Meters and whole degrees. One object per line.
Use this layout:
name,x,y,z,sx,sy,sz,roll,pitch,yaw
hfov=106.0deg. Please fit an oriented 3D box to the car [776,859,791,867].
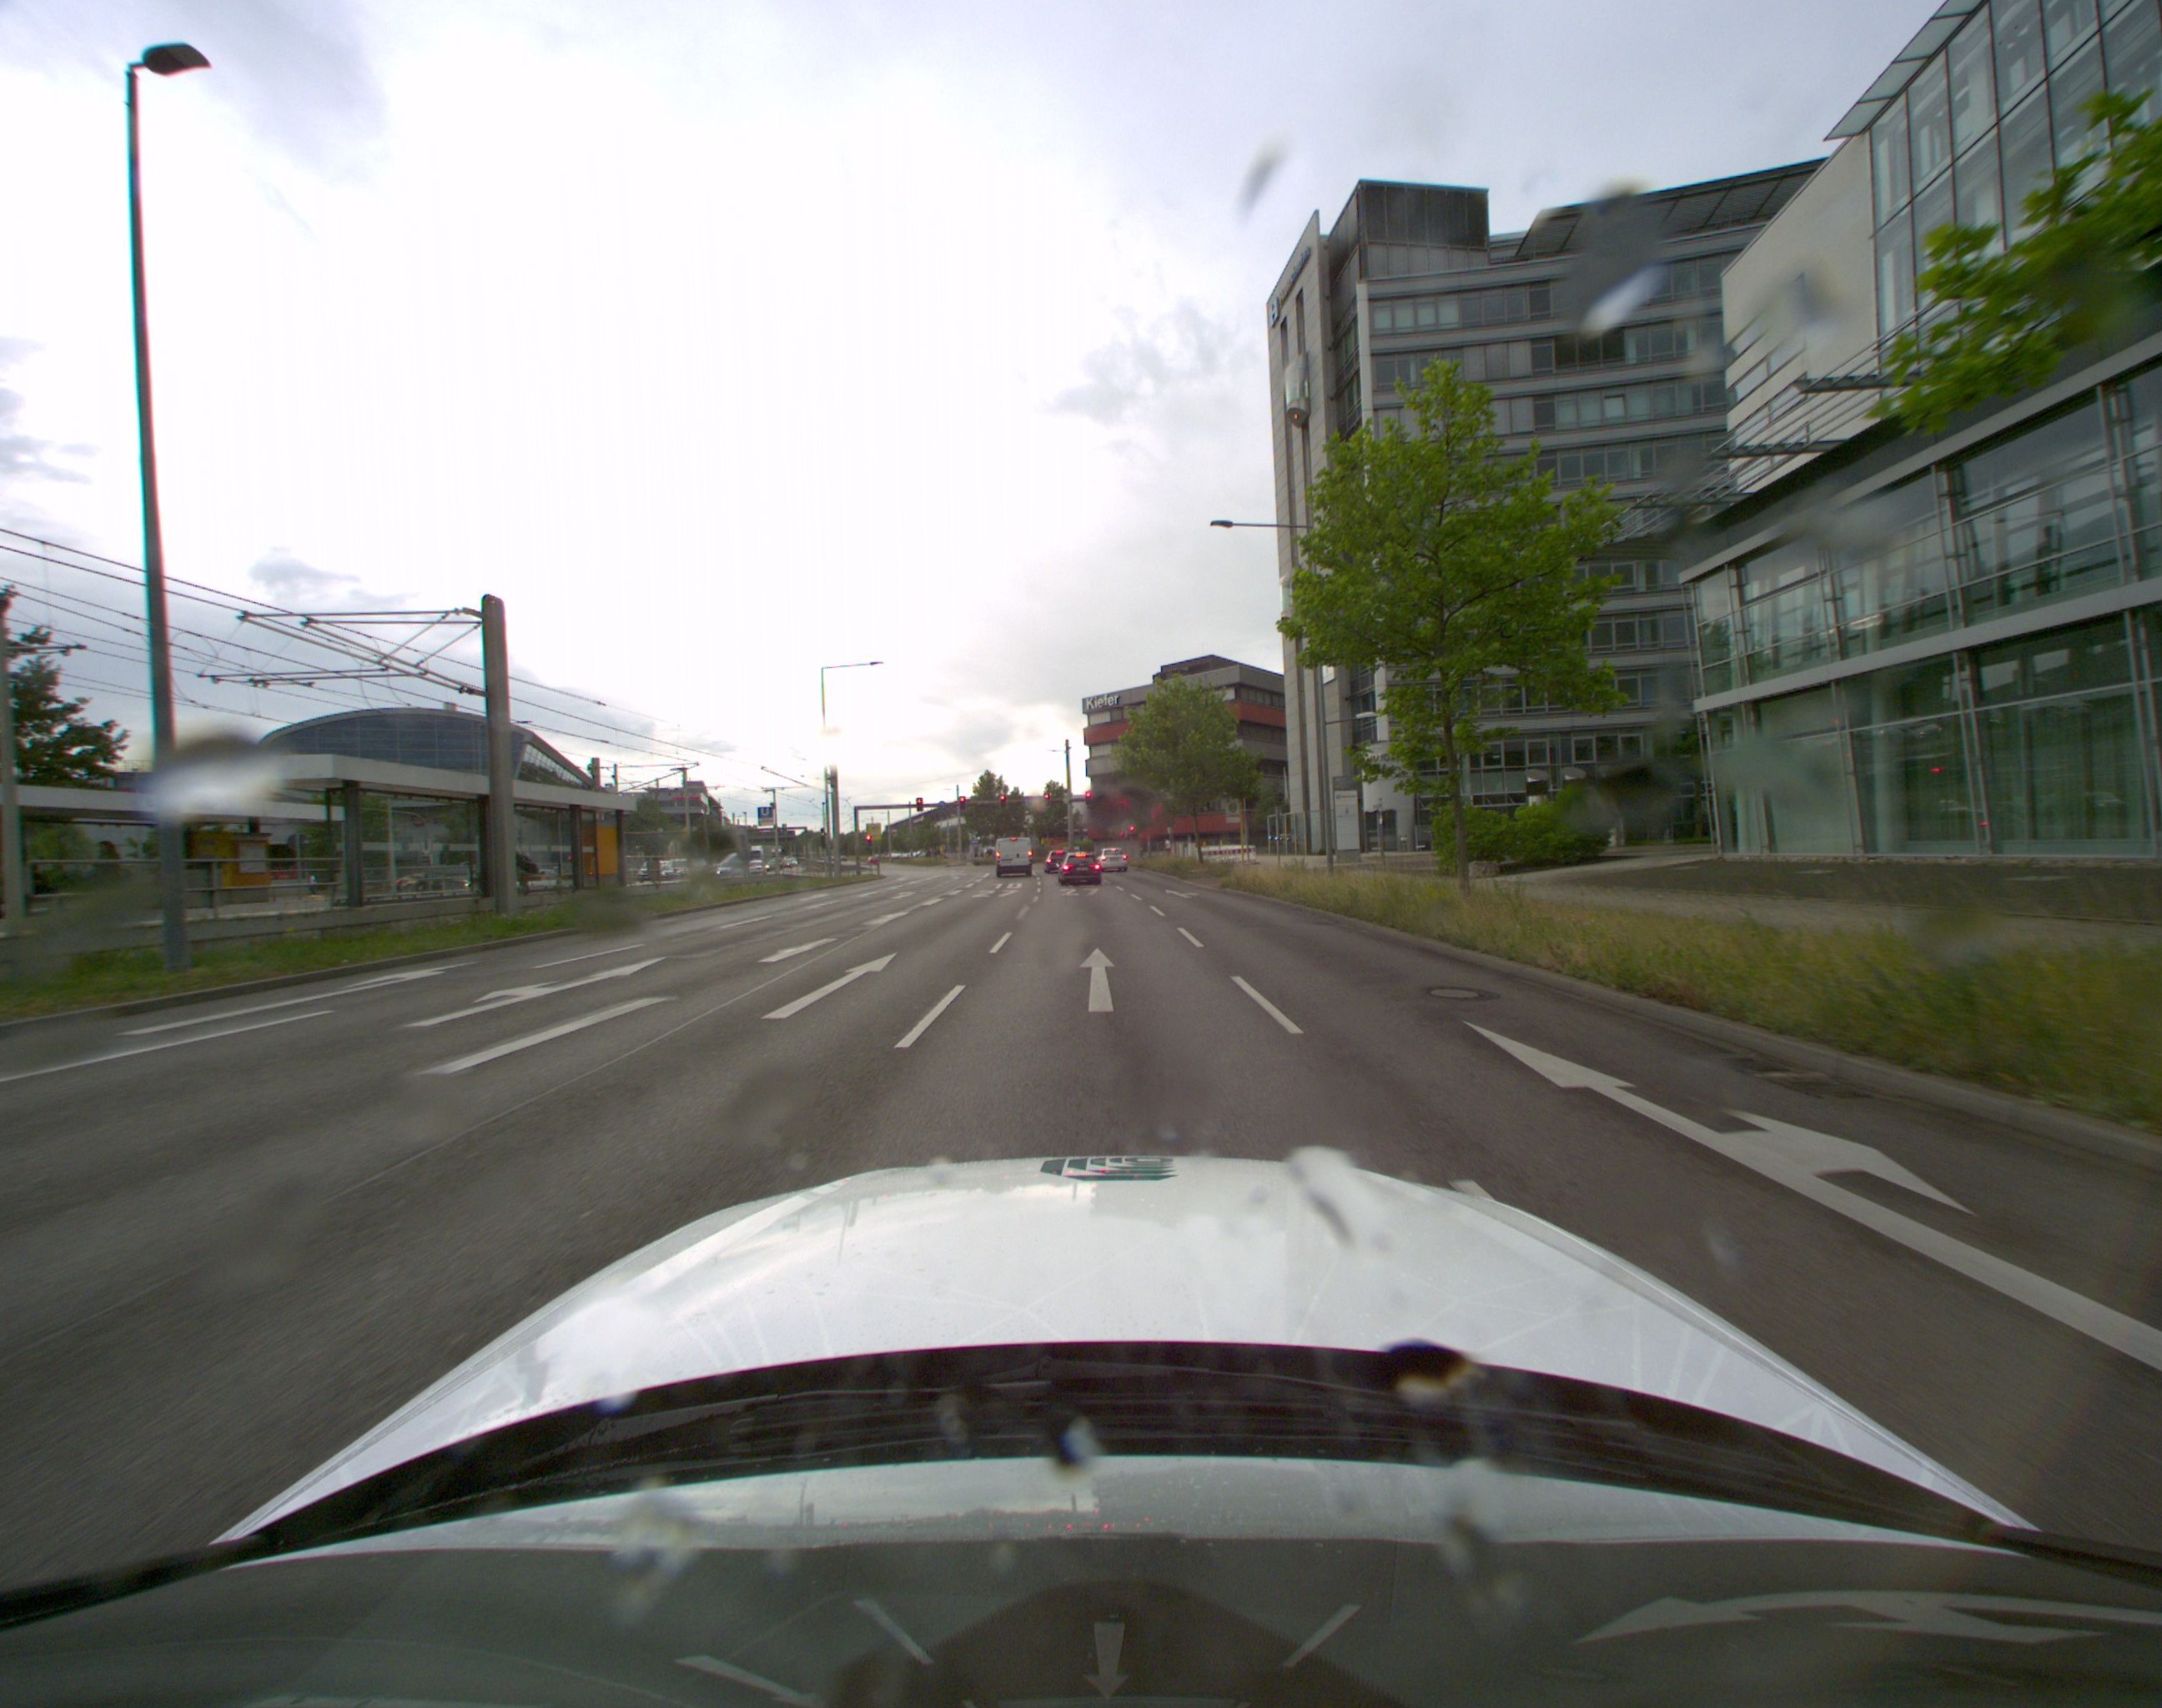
car,-50.471,1.559,138.293,1.910,1.264,4.393,0,-1,-14

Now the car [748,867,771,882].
car,-35.374,2.230,89.668,1.528,1.666,4.254,0,-1,-10

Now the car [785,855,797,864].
car,-55.519,1.049,155.906,1.890,1.652,4.075,0,-1,-15

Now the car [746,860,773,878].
car,-35.261,1.635,89.485,1.771,2.014,4.336,0,-1,-7

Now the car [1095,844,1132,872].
car,2.003,0.274,51.322,1.826,1.656,3.993,-2,-1,-5

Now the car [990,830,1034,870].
car,-4.196,-0.199,48.602,2.443,2.294,4.892,0,-1,-7

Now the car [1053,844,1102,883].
car,-0.221,0.441,36.671,1.989,1.637,3.995,0,-1,-3

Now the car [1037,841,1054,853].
car,-6.608,-1.285,152.369,1.879,2.014,3.743,0,-1,-24

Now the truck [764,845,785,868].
truck,-57.734,0.451,153.512,2.670,4.130,6.156,-3,0,-14

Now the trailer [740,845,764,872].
trailer,-53.214,0.664,131.928,2.803,4.107,11.369,-3,1,-19

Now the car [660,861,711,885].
car,-30.321,1.451,62.587,1.992,1.731,5.017,0,-1,-7

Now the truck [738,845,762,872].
truck,-51.427,0.681,126.648,2.840,3.995,5.949,-3,1,-19

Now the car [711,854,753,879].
car,-31.786,1.123,74.341,1.990,2.214,5.135,0,-1,-5

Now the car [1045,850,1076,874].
car,-1.374,0.520,52.972,1.889,1.465,3.906,-2,0,-2

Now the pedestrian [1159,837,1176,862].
pedestrian,7.485,-0.405,70.210,1.141,2.125,1.221,-3,2,-4

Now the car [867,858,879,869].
car,-37.024,1.707,144.827,1.778,2.014,4.320,0,-1,-18

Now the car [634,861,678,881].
car,-38.081,1.481,73.107,2.104,1.700,4.650,0,-1,-9

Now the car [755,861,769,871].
car,-46.895,1.792,119.854,1.744,1.462,4.126,0,-1,-19

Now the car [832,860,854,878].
car,-28.264,1.769,96.960,1.771,2.013,4.337,0,1,-7

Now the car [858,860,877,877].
car,-26.747,1.842,102.064,1.771,2.013,4.337,0,0,-7
